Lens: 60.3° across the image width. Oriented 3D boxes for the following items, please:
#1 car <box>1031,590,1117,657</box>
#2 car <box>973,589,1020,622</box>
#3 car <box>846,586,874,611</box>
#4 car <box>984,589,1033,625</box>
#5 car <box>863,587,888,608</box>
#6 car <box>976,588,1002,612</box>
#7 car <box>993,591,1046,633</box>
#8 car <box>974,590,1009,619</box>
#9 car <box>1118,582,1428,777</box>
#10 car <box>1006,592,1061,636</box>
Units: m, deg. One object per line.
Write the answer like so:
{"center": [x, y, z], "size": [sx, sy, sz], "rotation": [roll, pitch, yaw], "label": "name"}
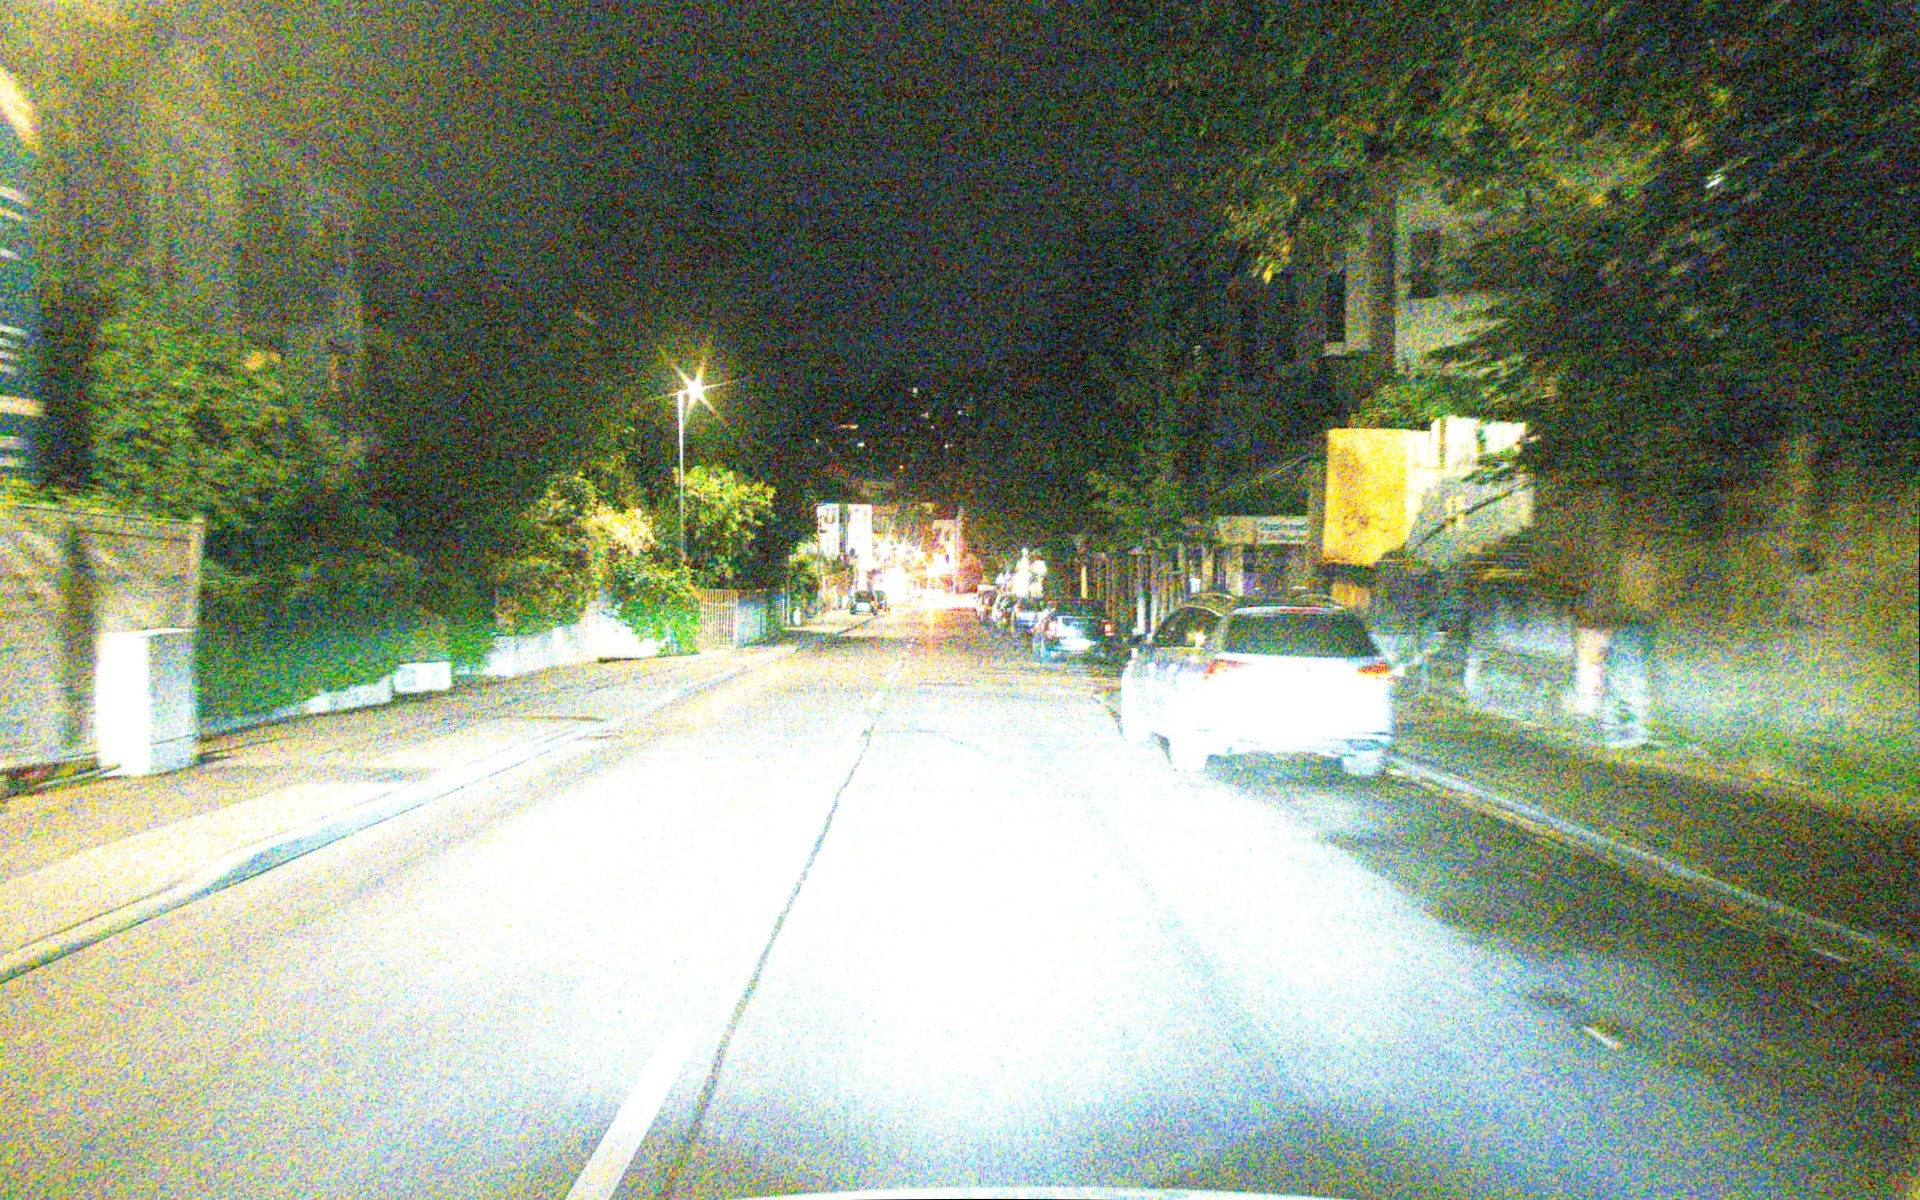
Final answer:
{"center": [2.592, 0.510, 38.424], "size": [1.597, 1.464, 3.863], "rotation": [0, 0, -2], "label": "car"}
{"center": [1.716, 0.259, 78.077], "size": [1.650, 1.474, 3.994], "rotation": [1, 0, -7], "label": "car"}
{"center": [-6.331, -0.110, 104.729], "size": [1.718, 1.566, 3.728], "rotation": [0, 0, -4], "label": "car"}
{"center": [2.128, 0.290, 73.440], "size": [1.650, 1.474, 3.995], "rotation": [1, 0, -6], "label": "car"}
{"center": [-6.222, -0.193, 121.854], "size": [1.718, 1.566, 3.729], "rotation": [0, 0, -2], "label": "car"}
{"center": [1.924, -0.032, 109.666], "size": [1.648, 1.566, 4.000], "rotation": [0, 0, 0], "label": "car"}
{"center": [2.219, 0.434, 62.834], "size": [1.649, 1.474, 3.998], "rotation": [1, 0, -3], "label": "car"}
{"center": [1.675, 0.222, 89.253], "size": [1.648, 1.474, 3.998], "rotation": [1, 0, -3], "label": "car"}
{"center": [2.697, 0.613, 15.255], "size": [1.728, 1.501, 4.272], "rotation": [2, 0, -4], "label": "car"}
{"center": [2.593, 0.470, 57.992], "size": [1.829, 1.427, 4.002], "rotation": [1, 0, 3], "label": "car"}
